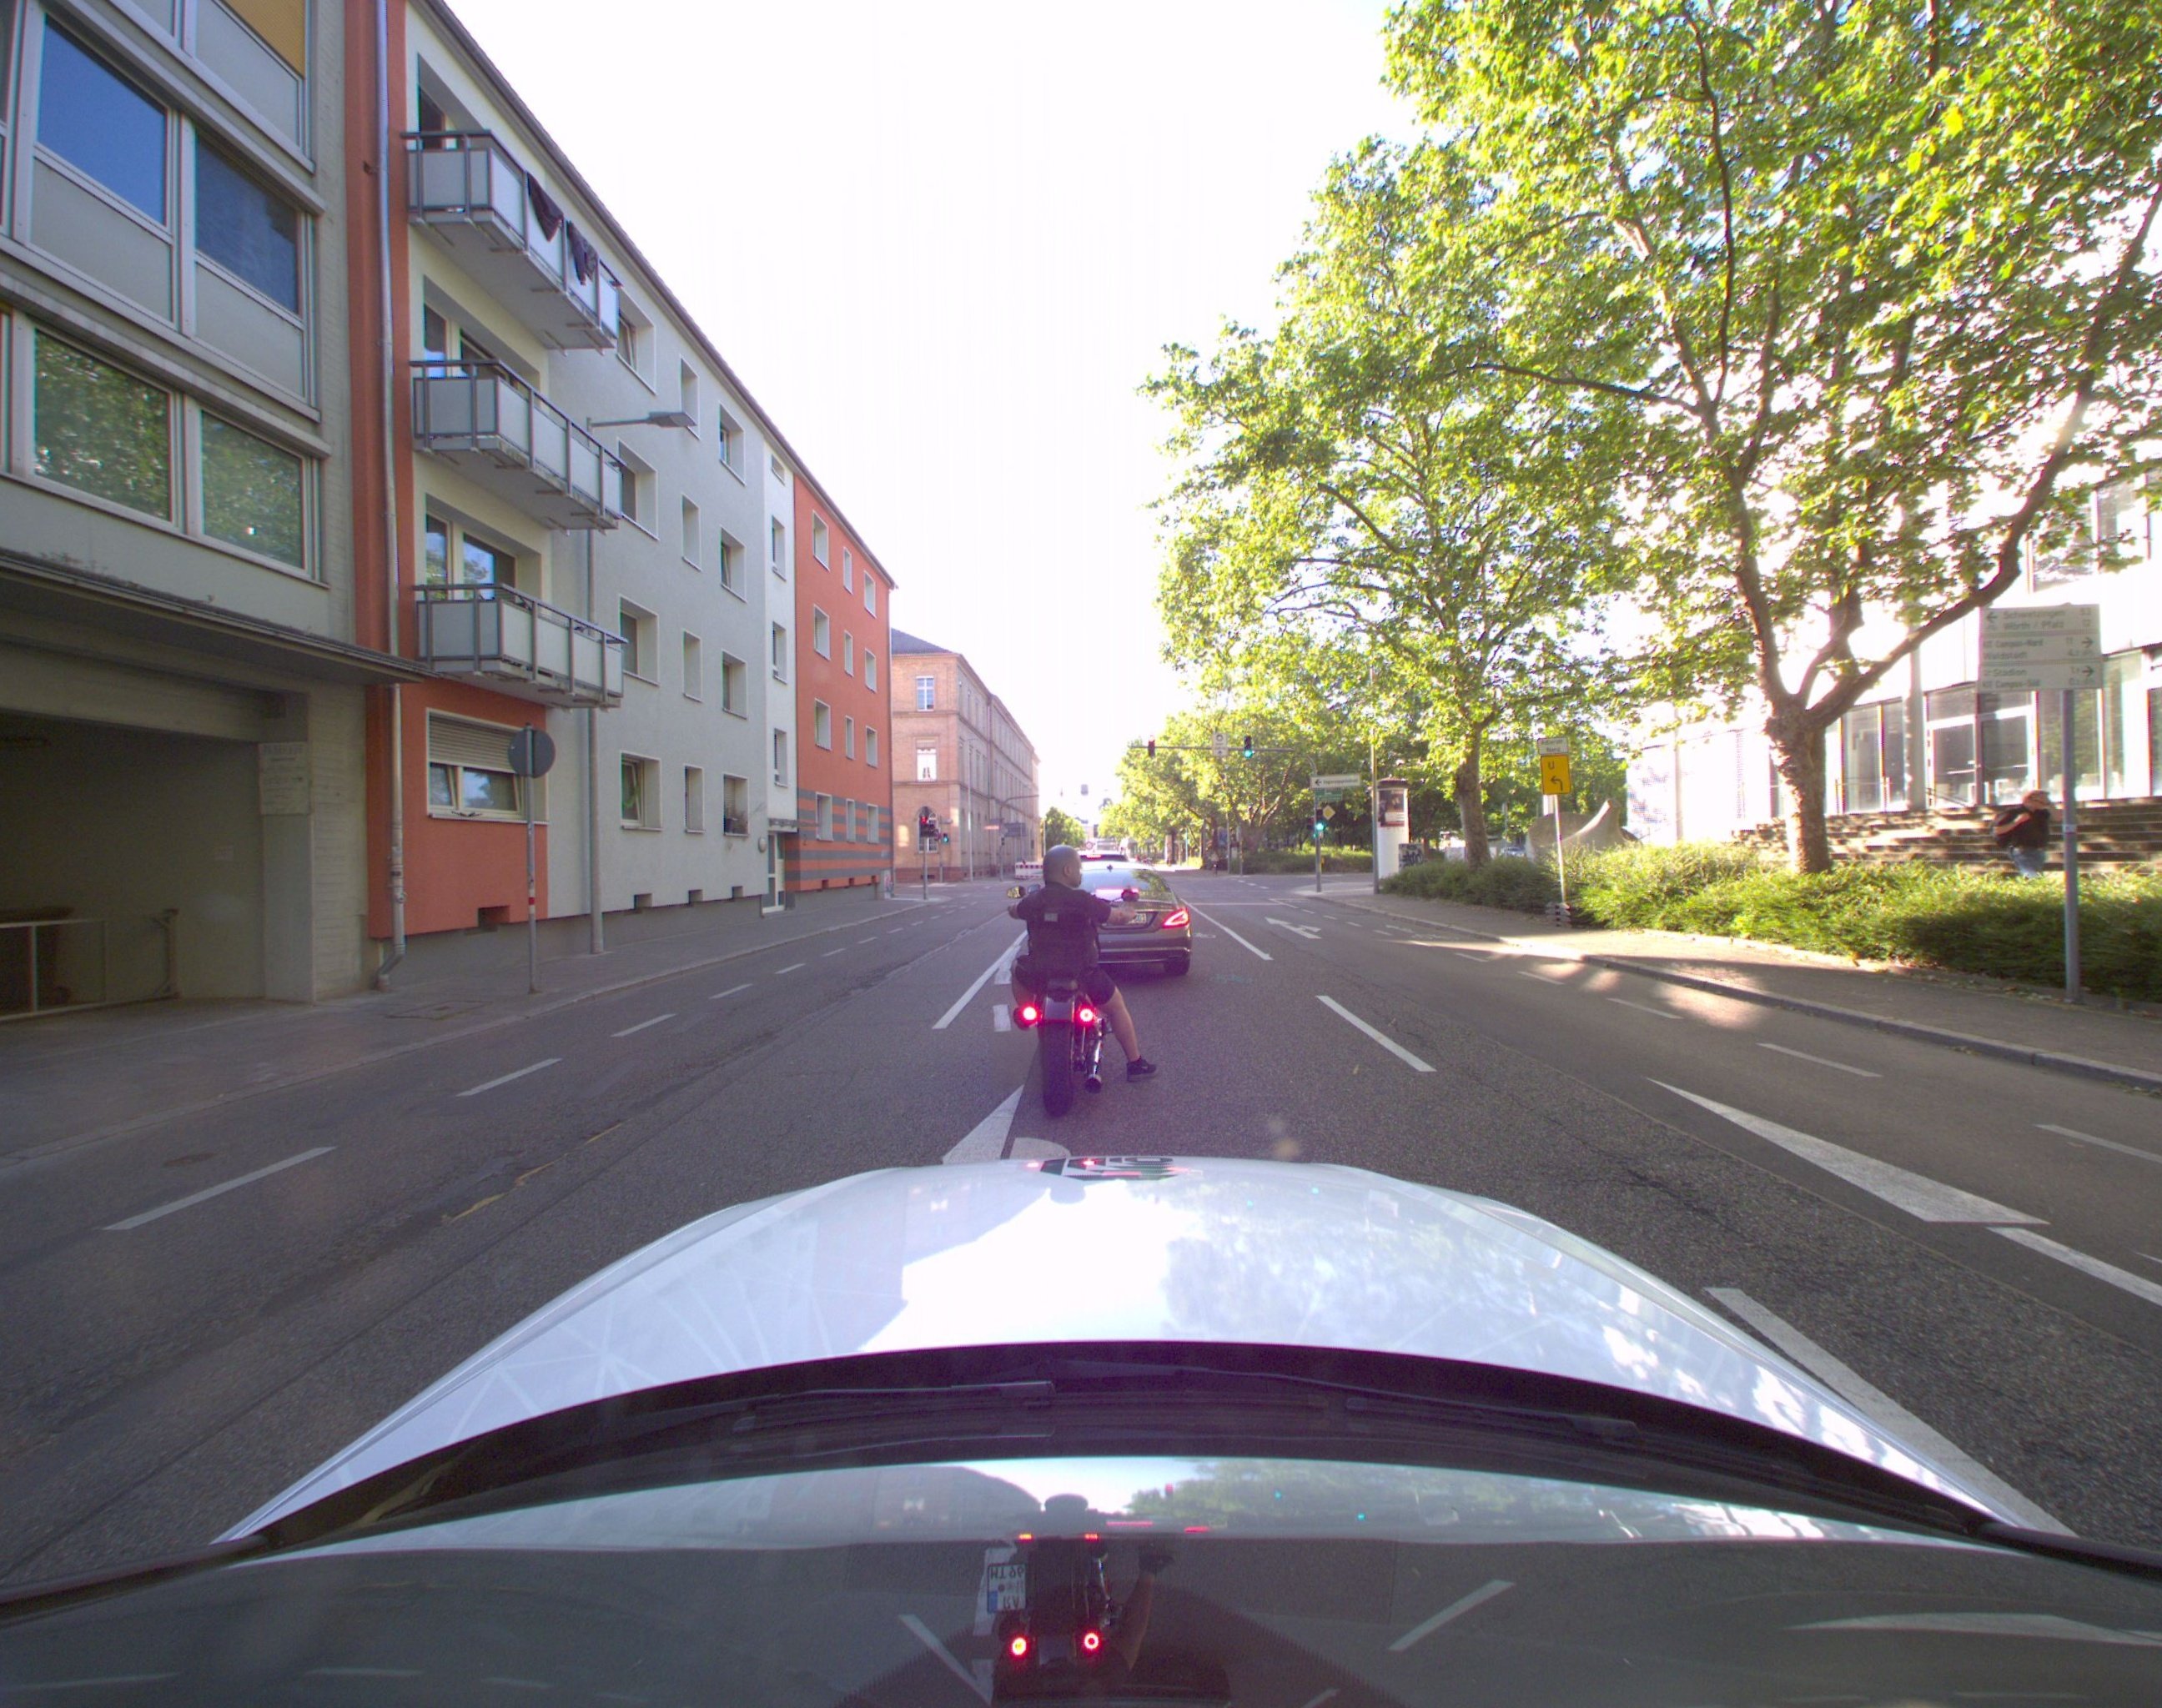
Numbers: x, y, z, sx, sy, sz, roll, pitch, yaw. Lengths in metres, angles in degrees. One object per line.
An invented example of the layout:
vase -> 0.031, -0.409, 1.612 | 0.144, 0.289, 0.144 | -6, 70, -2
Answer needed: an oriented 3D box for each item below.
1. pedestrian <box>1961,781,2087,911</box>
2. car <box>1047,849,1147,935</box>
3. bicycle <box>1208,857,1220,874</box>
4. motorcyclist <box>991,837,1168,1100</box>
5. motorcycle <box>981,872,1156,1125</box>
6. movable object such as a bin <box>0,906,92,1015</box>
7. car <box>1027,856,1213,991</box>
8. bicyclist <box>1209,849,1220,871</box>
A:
pedestrian -> 13.501, -0.117, 11.693 | 0.781, 1.781, 0.862 | -1, 0, 0
car -> 0.280, 0.703, 16.890 | 1.808, 1.536, 3.847 | -1, 0, -1
bicycle -> 9.539, 0.827, 58.341 | 0.712, 1.172, 2.179 | 0, -1, 6
motorcyclist -> 0.004, 0.695, 5.385 | 1.057, 1.582, 0.908 | 0, -1, 1
motorcycle -> -0.031, 0.820, 5.655 | 0.958, 1.357, 2.321 | 0, -1, 2
movable object such as a bin -> -11.315, 1.109, 8.644 | 0.736, 1.074, 0.716 | 0, -1, 2
car -> 0.305, 0.766, 11.195 | 1.900, 1.441, 4.279 | -1, 0, -6
bicyclist -> 9.525, 0.448, 58.322 | 0.712, 1.582, 0.937 | 0, -1, 6
